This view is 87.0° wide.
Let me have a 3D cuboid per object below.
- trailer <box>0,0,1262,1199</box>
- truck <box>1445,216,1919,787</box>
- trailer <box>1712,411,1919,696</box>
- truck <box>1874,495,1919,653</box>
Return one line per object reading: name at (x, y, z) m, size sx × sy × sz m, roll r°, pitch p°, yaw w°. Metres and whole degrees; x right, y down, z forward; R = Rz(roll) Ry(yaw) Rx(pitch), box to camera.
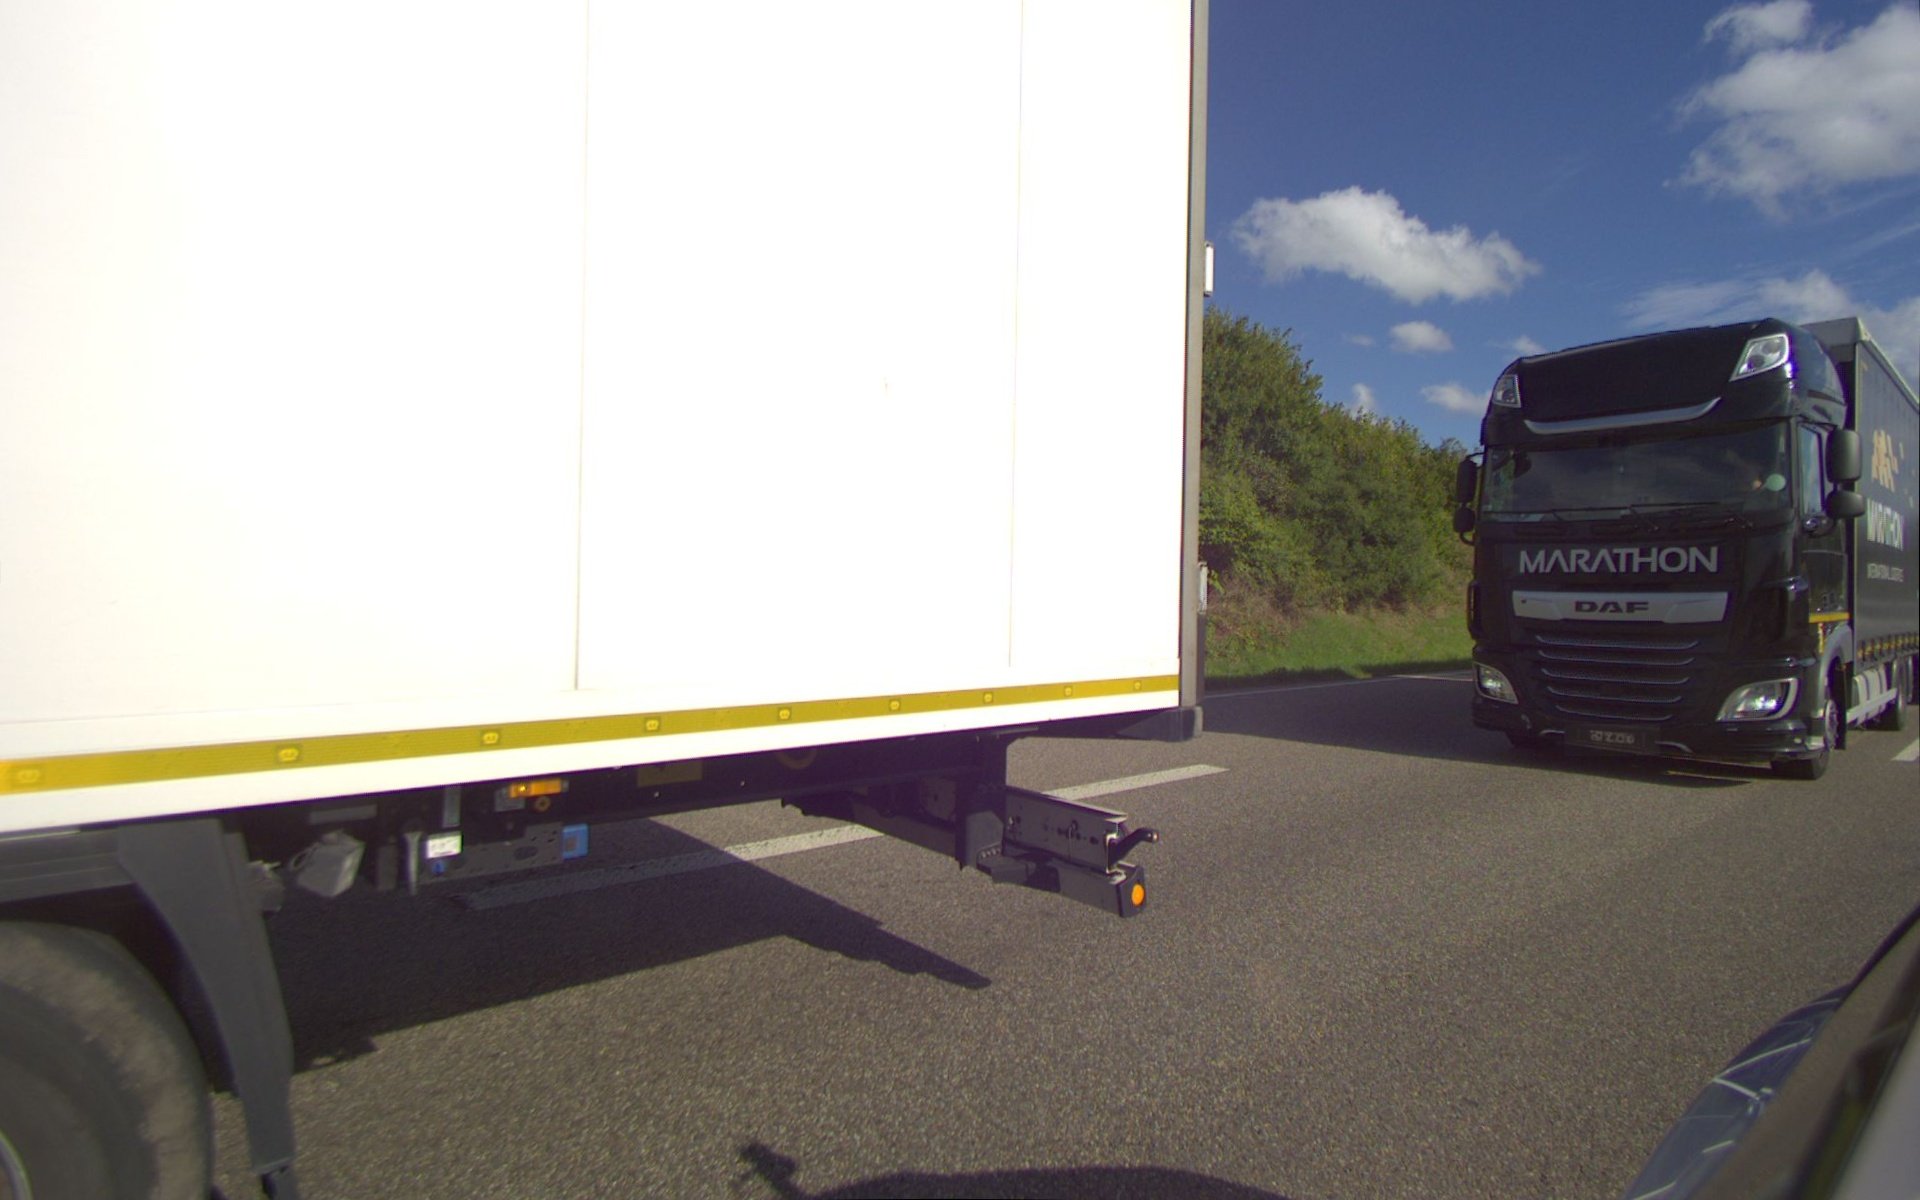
trailer at (-4.767, -0.678, 0.148) m, size 12.841 × 3.988 × 2.797 m, roll 0°, pitch 1°, yaw -41°
truck at (9.138, -0.714, 11.642) m, size 10.028 × 4.090 × 2.744 m, roll 0°, pitch -1°, yaw -42°
trailer at (16.038, -0.602, 17.837) m, size 8.560 × 4.012 × 2.719 m, roll 1°, pitch -2°, yaw -42°
truck at (28.774, -0.688, 29.159) m, size 9.496 × 4.121 × 2.415 m, roll 0°, pitch -2°, yaw -41°
